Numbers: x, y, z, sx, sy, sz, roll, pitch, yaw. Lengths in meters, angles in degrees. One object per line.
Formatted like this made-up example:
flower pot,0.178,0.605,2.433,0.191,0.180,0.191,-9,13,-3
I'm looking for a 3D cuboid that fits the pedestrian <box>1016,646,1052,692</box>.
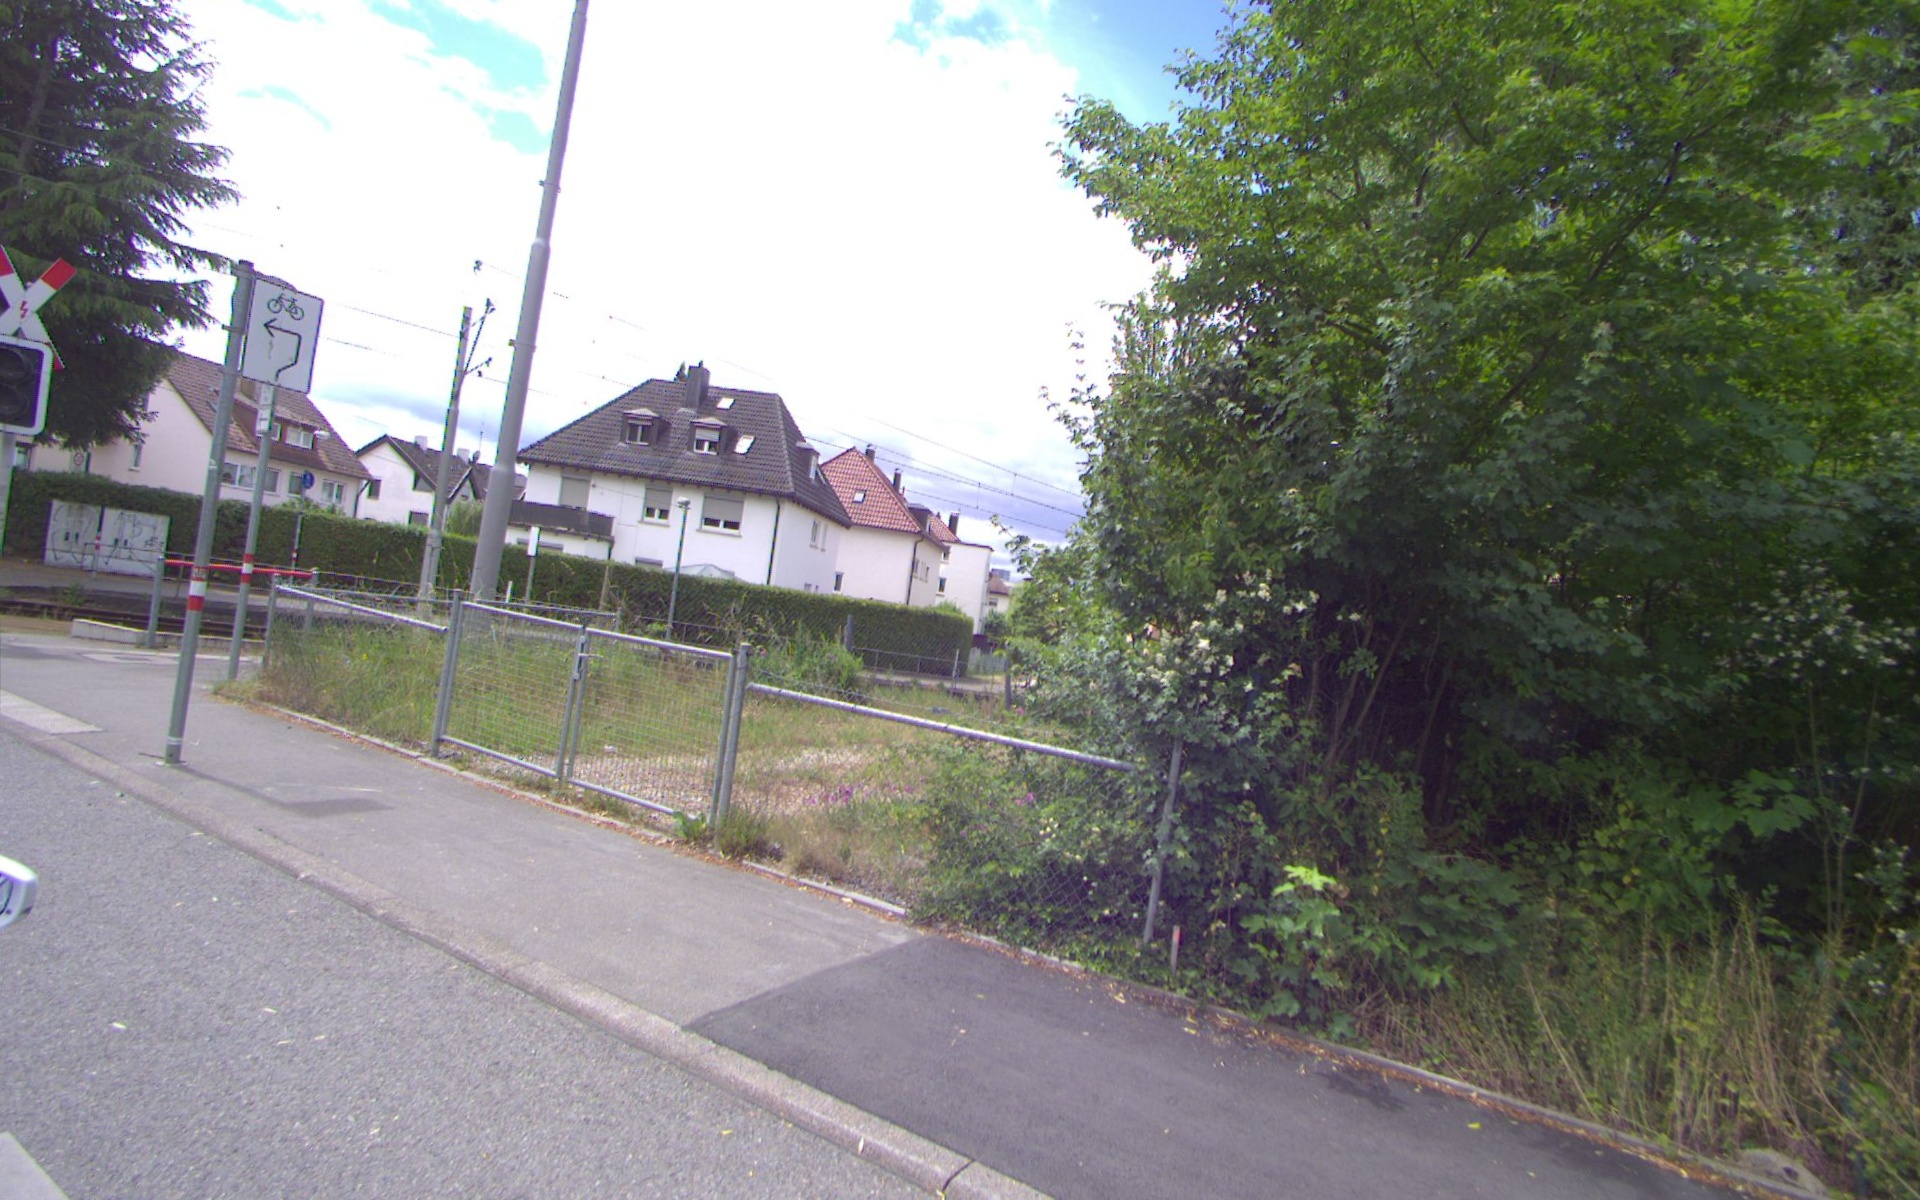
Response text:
pedestrian,3.000,2.802,40.846,0.910,1.707,0.925,8,-1,-31
